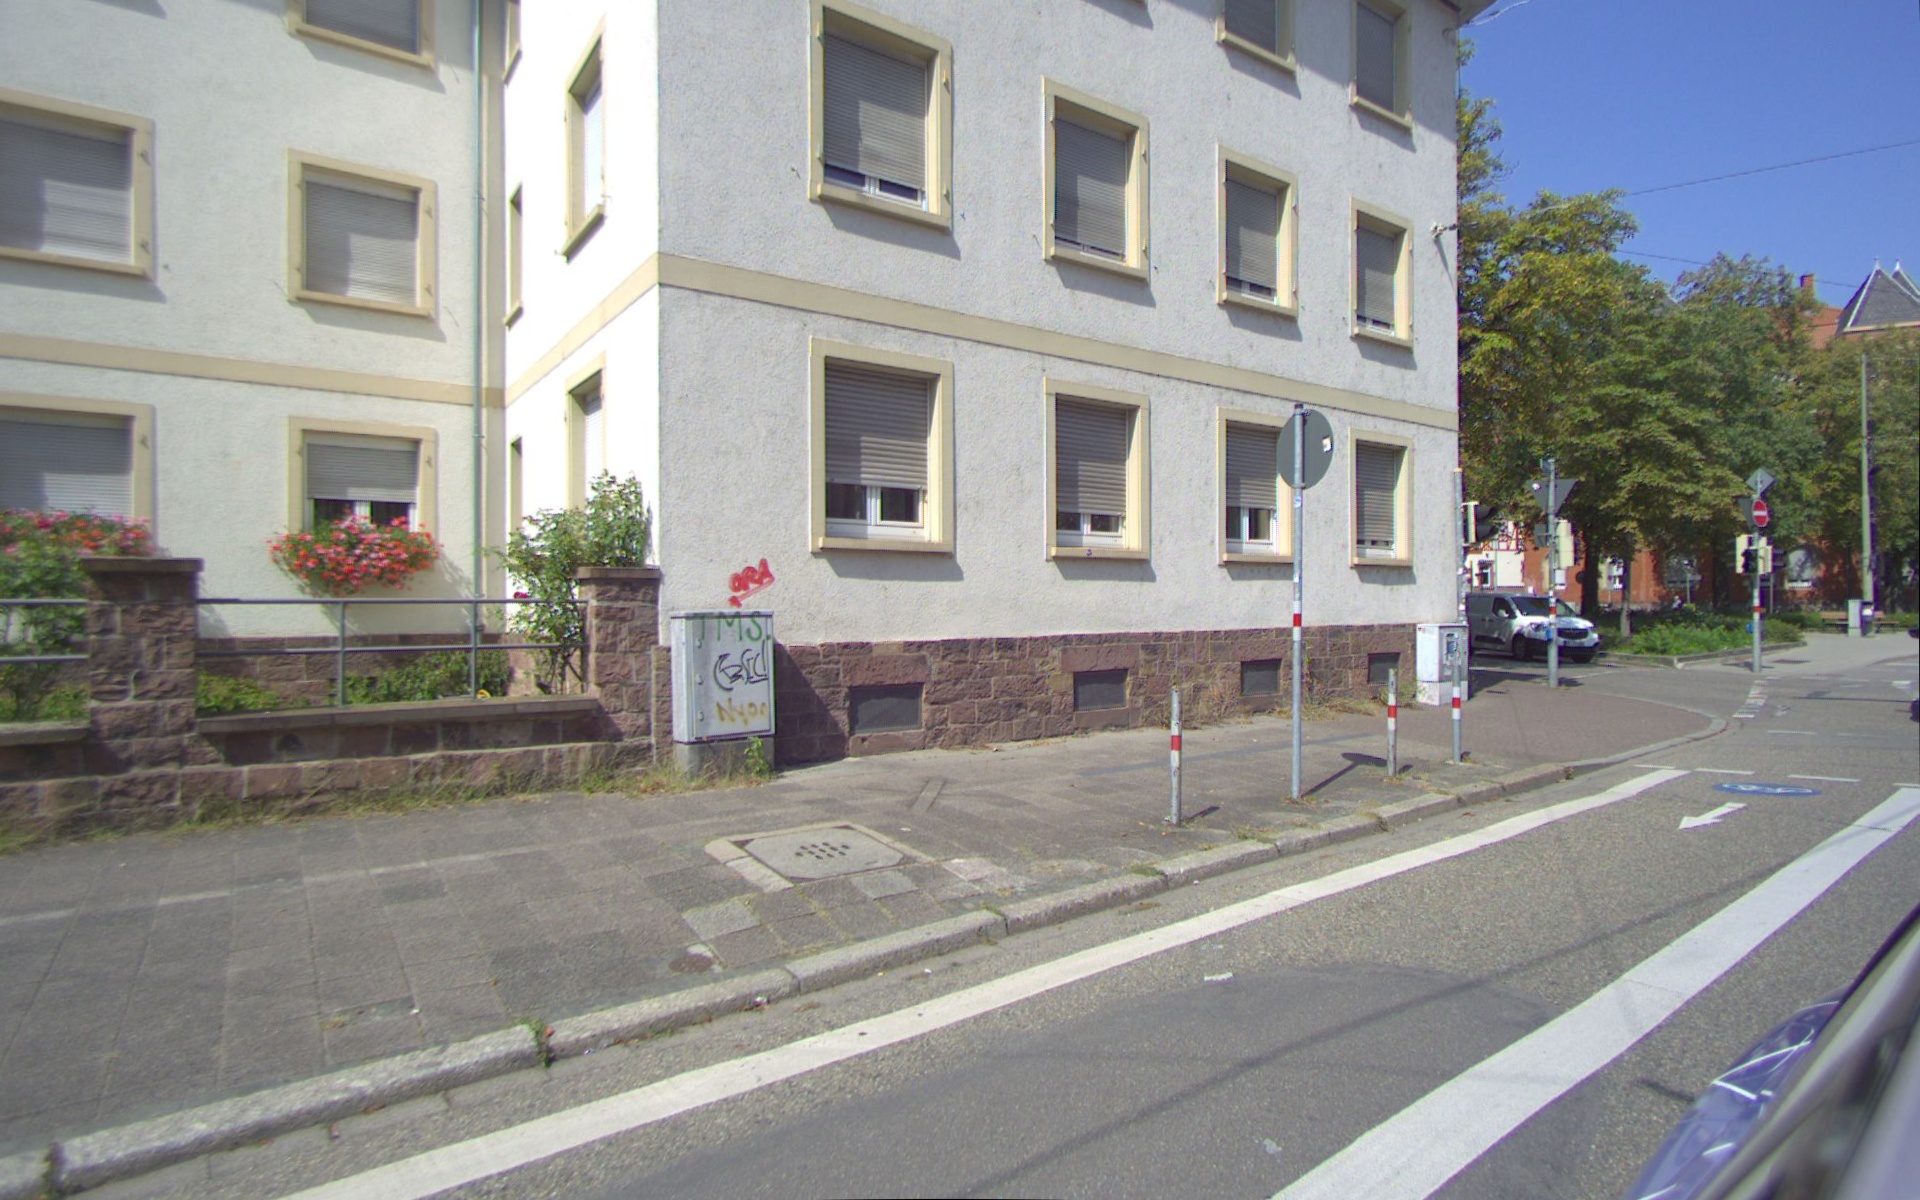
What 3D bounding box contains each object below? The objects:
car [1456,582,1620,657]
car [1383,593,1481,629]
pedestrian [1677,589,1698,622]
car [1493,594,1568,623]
[{"bbox_3d":[15.234,0.483,26.990,1.770,1.835,4.416,0,-1,-1],"label":"car"},{"bbox_3d":[24.810,0.578,53.271,4.329,1.834,1.805,0,0,-3],"label":"car"},{"bbox_3d":[42.584,0.307,59.234,0.666,1.909,0.918,0,-1,15],"label":"pedestrian"},{"bbox_3d":[37.472,0.530,66.619,1.767,1.835,4.423,0,-1,-12],"label":"car"}]
